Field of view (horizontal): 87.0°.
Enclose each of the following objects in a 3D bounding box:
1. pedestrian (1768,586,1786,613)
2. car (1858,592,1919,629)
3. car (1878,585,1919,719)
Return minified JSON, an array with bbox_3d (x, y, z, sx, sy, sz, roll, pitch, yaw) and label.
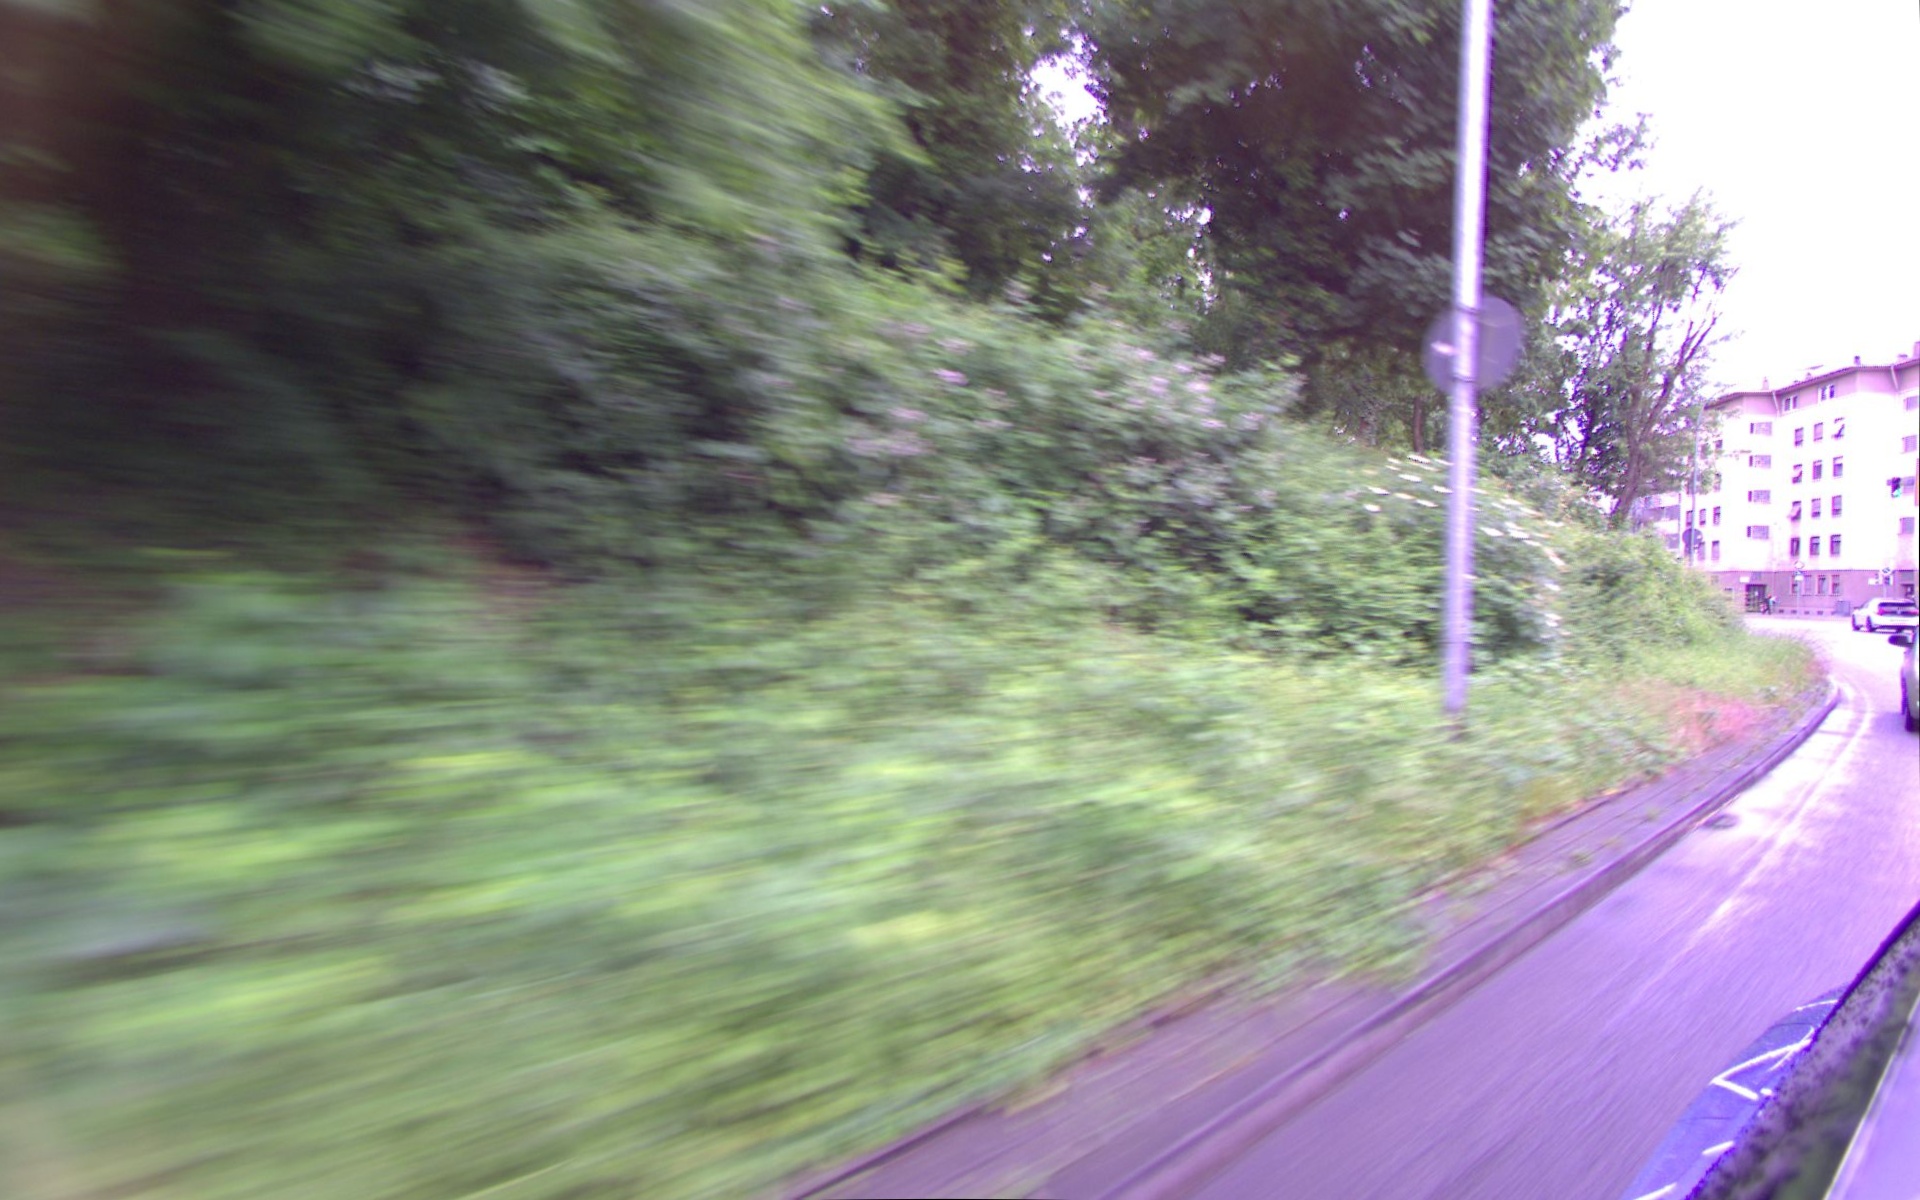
[{"bbox_3d":[63.275,-0.024,78.409,0.799,2.039,0.855,0,-1,14],"label":"pedestrian"},{"bbox_3d":[41.525,0.439,44.736,1.775,1.514,4.173,3,2,29],"label":"car"},{"bbox_3d":[12.554,0.598,12.237,1.743,1.538,3.947,0,0,36],"label":"car"}]
